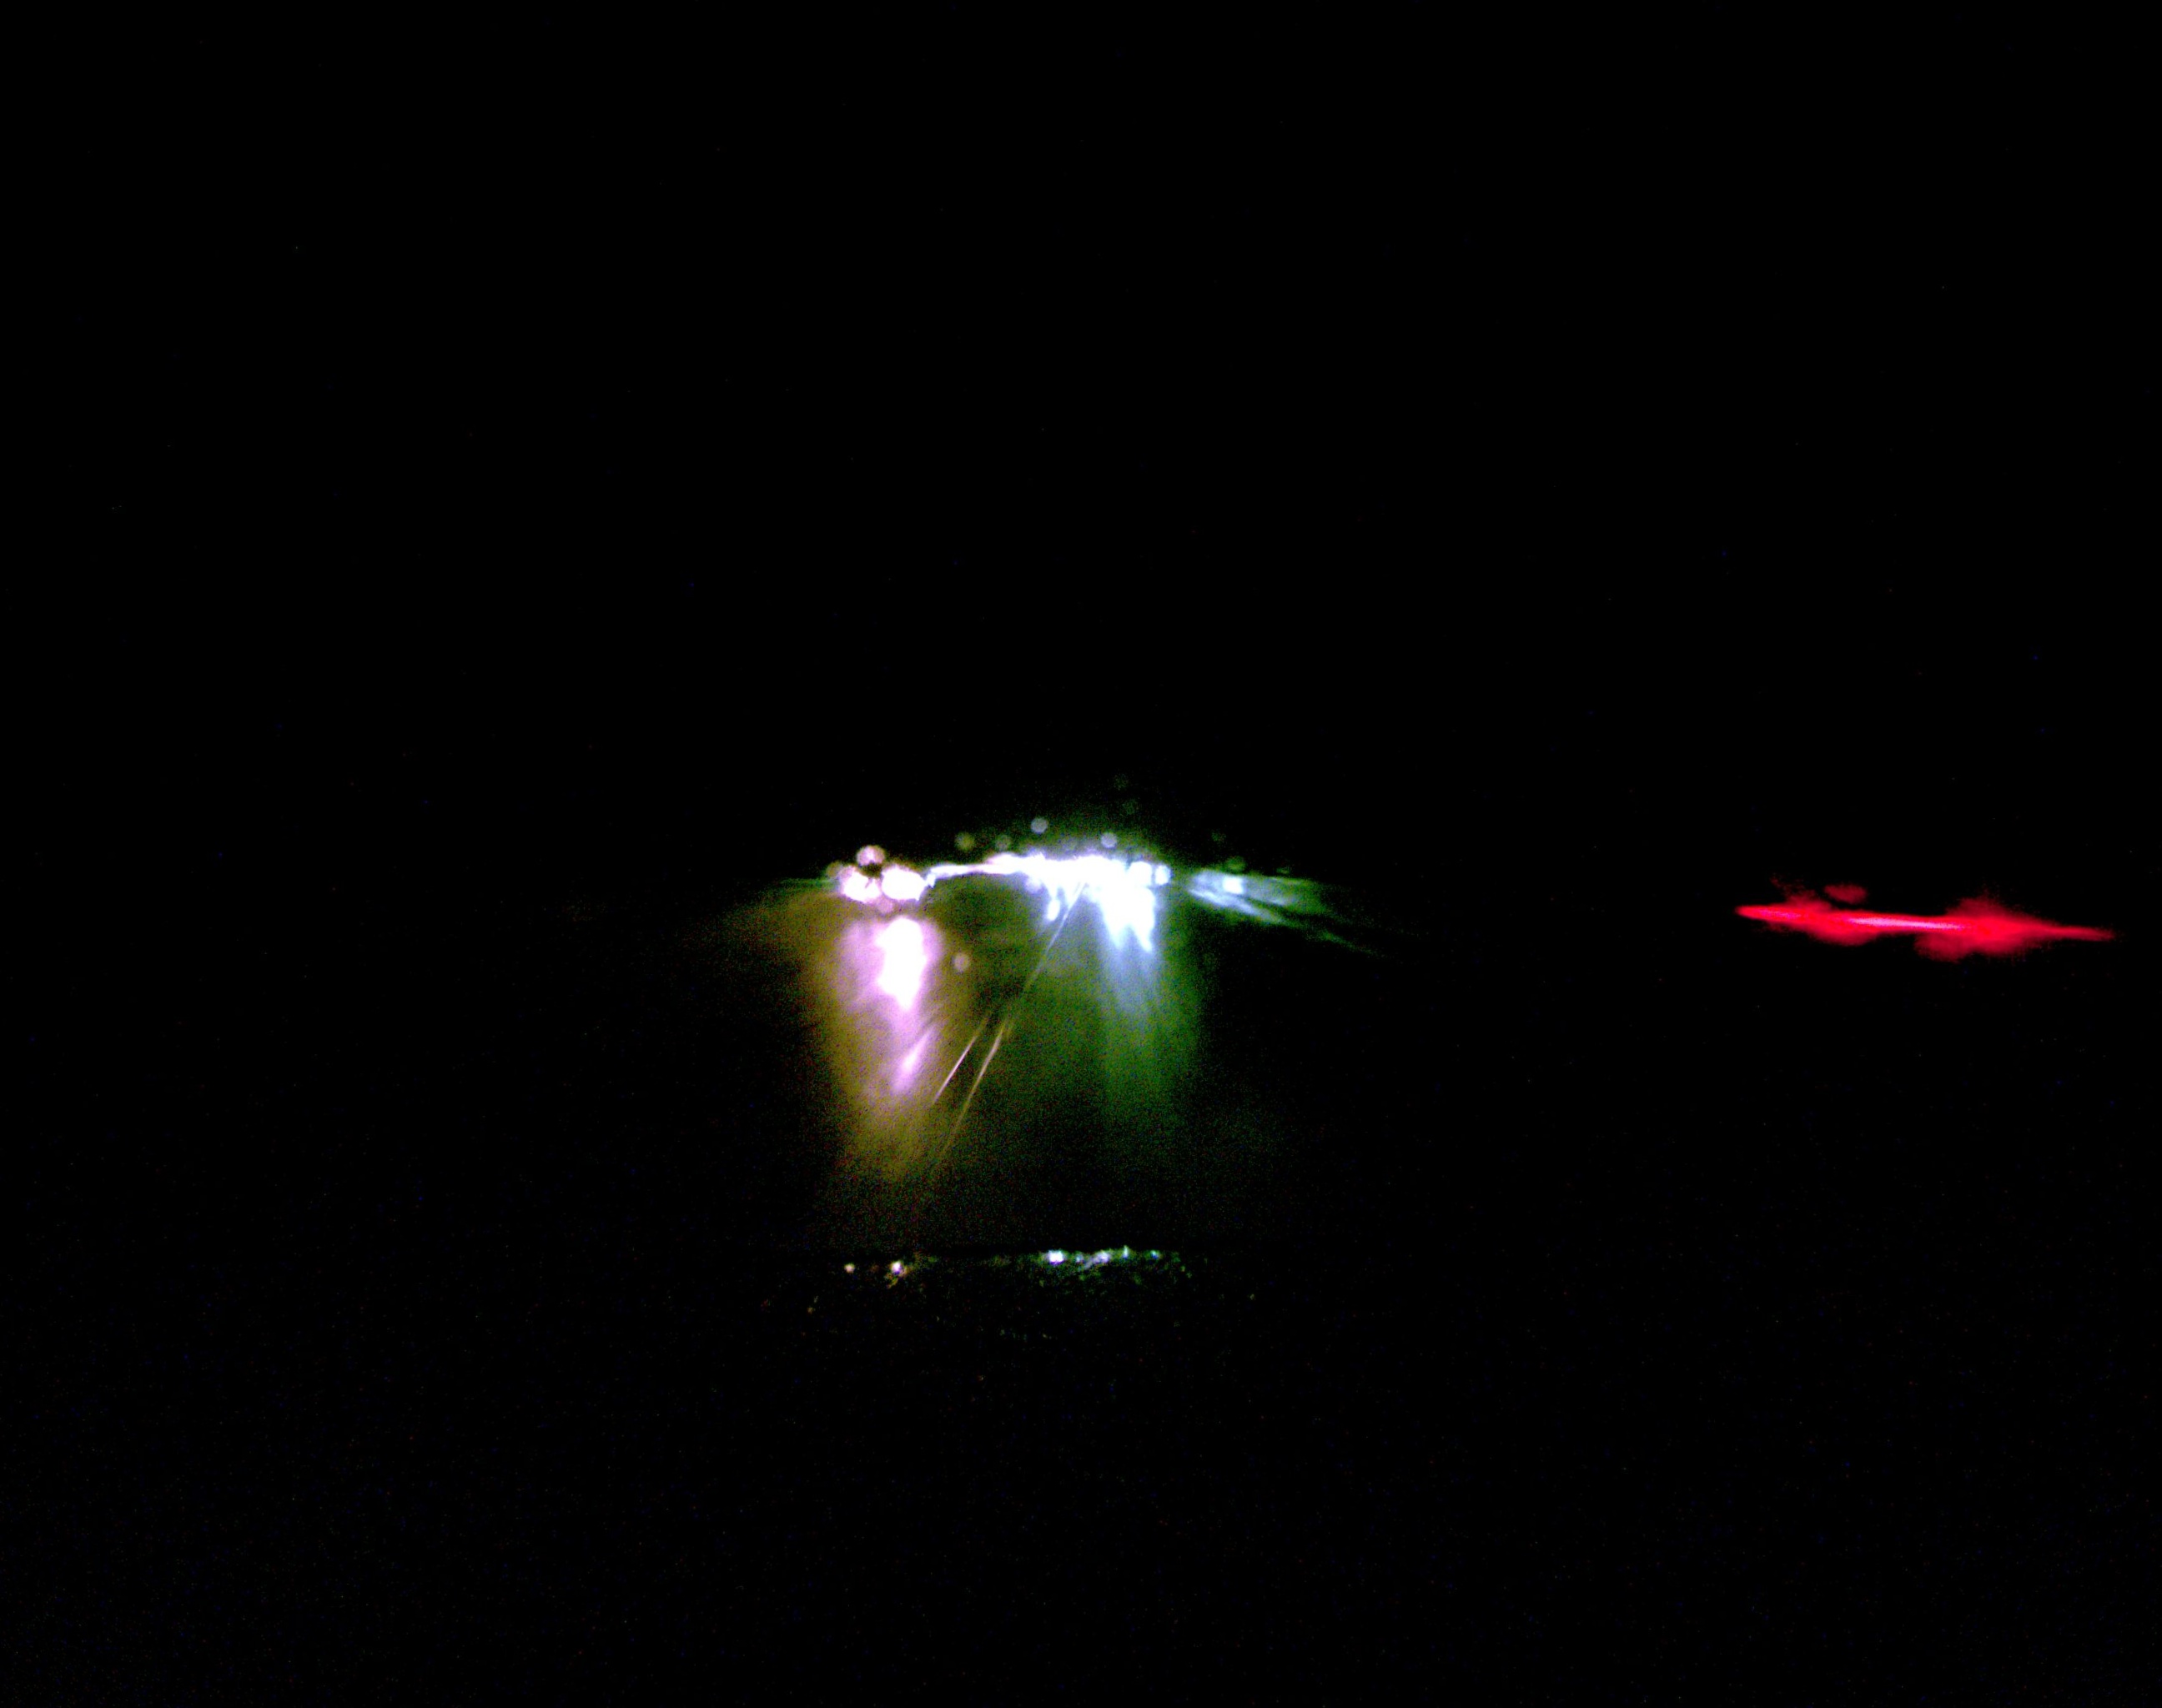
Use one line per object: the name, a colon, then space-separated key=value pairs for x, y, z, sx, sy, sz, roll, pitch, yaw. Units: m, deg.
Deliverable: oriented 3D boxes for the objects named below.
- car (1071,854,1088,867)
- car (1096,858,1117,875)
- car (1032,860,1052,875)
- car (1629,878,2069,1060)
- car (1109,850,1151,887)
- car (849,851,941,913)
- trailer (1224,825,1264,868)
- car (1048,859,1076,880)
car: x=-0.178 y=0.815 z=97.873 sx=1.883 sy=1.654 sz=4.001 roll=-3 pitch=0 yaw=4
car: x=2.638 y=1.292 z=78.583 sx=1.882 sy=1.654 sz=4.001 roll=-3 pitch=0 yaw=4
car: x=-4.684 y=1.629 z=91.968 sx=1.882 sy=1.654 sz=4.002 roll=-3 pitch=0 yaw=5
car: x=10.531 y=1.414 z=11.040 sx=1.998 sy=2.001 sz=4.296 roll=-3 pitch=-1 yaw=1
car: x=2.456 y=0.710 z=37.613 sx=1.882 sy=1.654 sz=4.002 roll=-3 pitch=0 yaw=5
car: x=-6.180 y=0.892 z=25.832 sx=1.832 sy=1.835 sz=4.699 roll=-3 pitch=0 yaw=1
trailer: x=19.498 y=-0.801 z=91.318 sx=2.411 sy=4.795 sz=10.170 roll=-3 pitch=0 yaw=0
car: x=-1.539 y=1.297 z=64.221 sx=1.882 sy=1.654 sz=4.002 roll=-3 pitch=0 yaw=5
